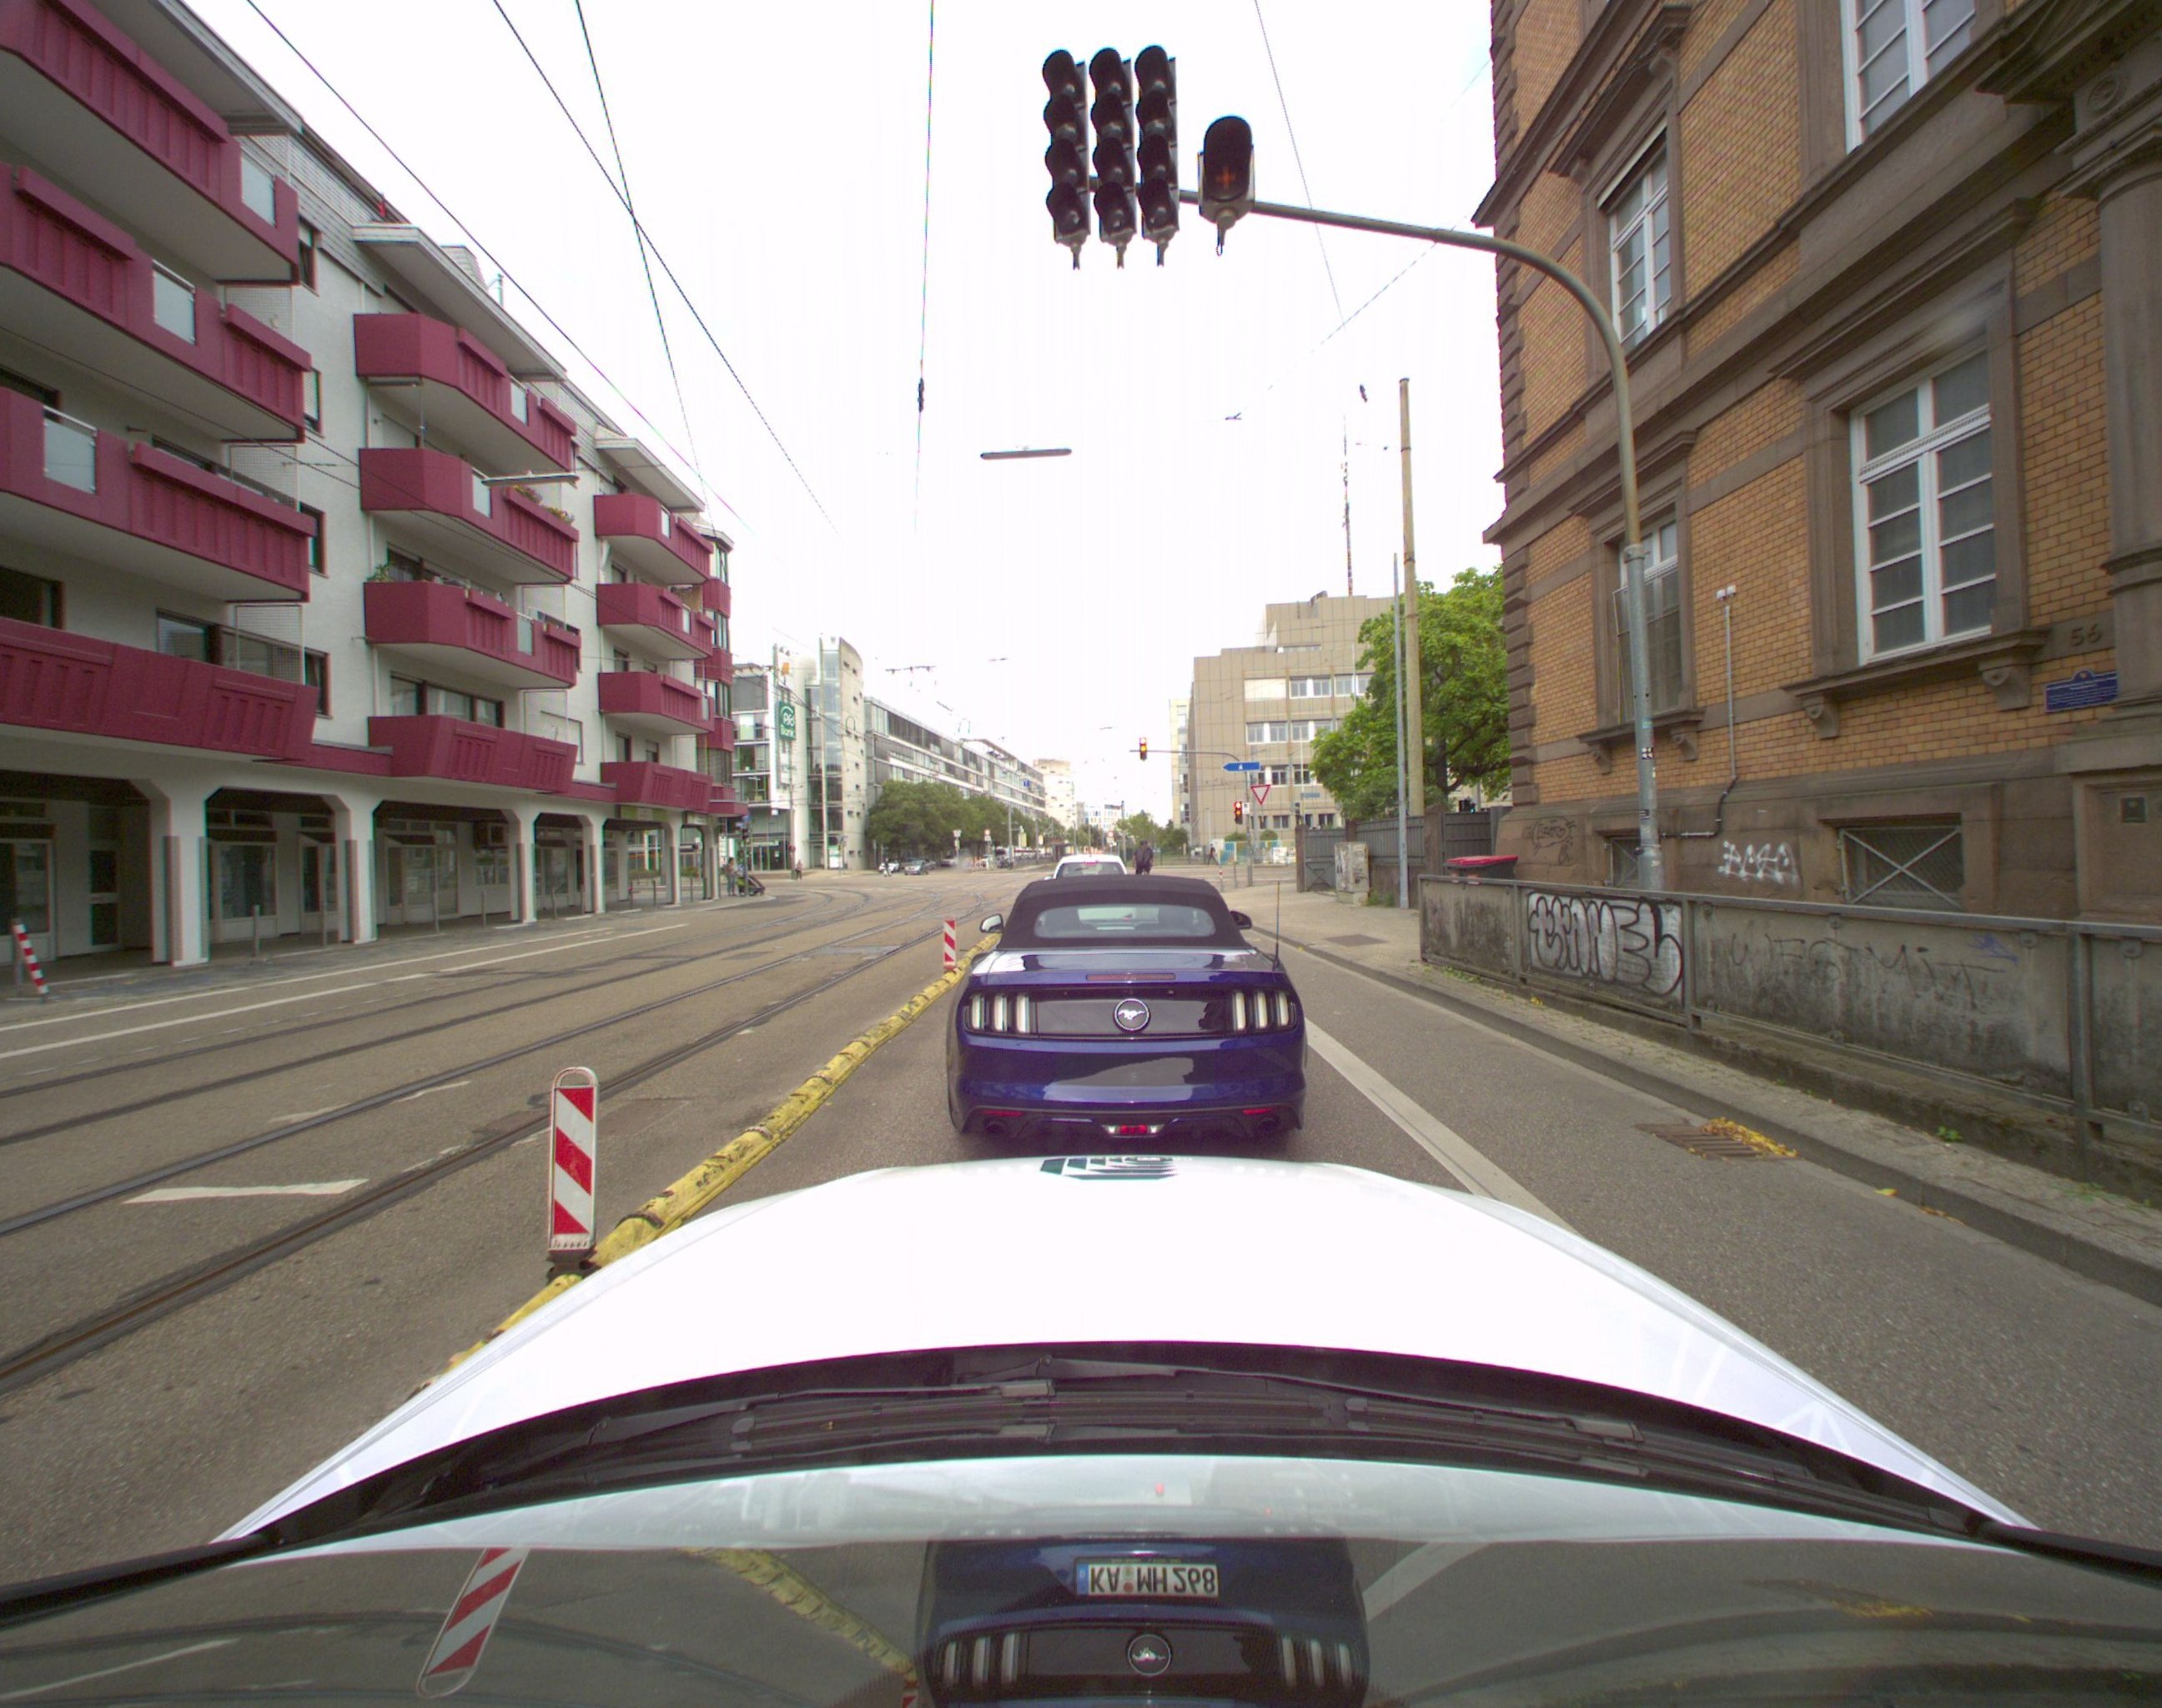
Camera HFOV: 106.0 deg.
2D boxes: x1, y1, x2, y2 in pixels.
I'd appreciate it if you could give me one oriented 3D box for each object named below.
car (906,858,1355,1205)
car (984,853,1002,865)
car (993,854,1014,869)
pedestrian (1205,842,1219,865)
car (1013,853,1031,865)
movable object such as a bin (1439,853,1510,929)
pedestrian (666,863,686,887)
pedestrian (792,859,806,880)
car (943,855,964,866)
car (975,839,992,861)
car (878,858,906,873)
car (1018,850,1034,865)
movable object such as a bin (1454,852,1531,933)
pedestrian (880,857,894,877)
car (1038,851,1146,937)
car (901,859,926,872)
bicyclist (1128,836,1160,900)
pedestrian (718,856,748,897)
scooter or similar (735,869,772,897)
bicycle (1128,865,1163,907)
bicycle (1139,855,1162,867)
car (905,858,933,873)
[{"bbox_3d":[0.283,0.760,5.555,1.869,1.404,4.284,-1,0,2],"label":"car"},{"bbox_3d":[-12.566,0.708,116.149,1.706,1.660,4.140,0,0,6],"label":"car"},{"bbox_3d":[-9.280,0.849,97.673,1.872,1.628,4.089,-2,0,2],"label":"car"},{"bbox_3d":[11.109,-0.069,69.298,1.080,1.898,0.904,-2,0,7],"label":"pedestrian"},{"bbox_3d":[-8.016,0.695,111.188,1.861,1.605,4.214,-2,0,2],"label":"car"},{"bbox_3d":[6.054,0.553,12.559,0.649,1.082,0.677,-5,-1,-4],"label":"movable object such as a bin"},{"bbox_3d":[-28.835,1.518,57.989,0.928,1.671,0.769,-2,0,14],"label":"pedestrian"},{"bbox_3d":[-25.253,1.370,72.973,0.828,1.865,0.769,-2,0,14],"label":"pedestrian"},{"bbox_3d":[-18.304,0.965,116.999,1.978,1.556,4.516,0,0,3],"label":"car"},{"bbox_3d":[-16.221,-0.630,135.986,1.978,3.636,4.516,0,0,3],"label":"car"},{"bbox_3d":[-21.278,1.306,91.732,1.820,1.556,4.223,0,0,6],"label":"car"},{"bbox_3d":[-7.839,0.449,116.356,1.778,1.987,4.123,-2,0,2],"label":"car"},{"bbox_3d":[5.971,0.546,11.844,0.662,1.082,0.700,-5,-1,-3],"label":"movable object such as a bin"},{"bbox_3d":[-18.430,1.238,77.512,0.983,1.855,0.904,-2,0,8],"label":"pedestrian"},{"bbox_3d":[0.109,0.692,16.276,1.831,1.439,4.183,-2,0,-2],"label":"car"},{"bbox_3d":[-20.304,1.362,98.838,1.820,1.556,4.223,0,0,6],"label":"car"},{"bbox_3d":[1.811,0.396,23.557,0.793,1.785,1.233,-2,0,0],"label":"bicyclist"},{"bbox_3d":[-15.226,0.966,35.642,0.945,1.743,0.811,-2,0,-2],"label":"pedestrian"},{"bbox_3d":[-14.333,1.263,35.694,1.192,1.128,0.946,-1,0,-1],"label":"scooter or similar"},{"bbox_3d":[1.830,0.897,23.383,0.798,1.086,2.131,-2,0,0],"label":"bicycle"},{"bbox_3d":[6.188,0.634,72.752,0.637,0.981,2.133,-2,-2,-40],"label":"bicycle"},{"bbox_3d":[-16.590,1.155,83.606,1.659,1.506,4.242,0,0,6],"label":"car"}]
